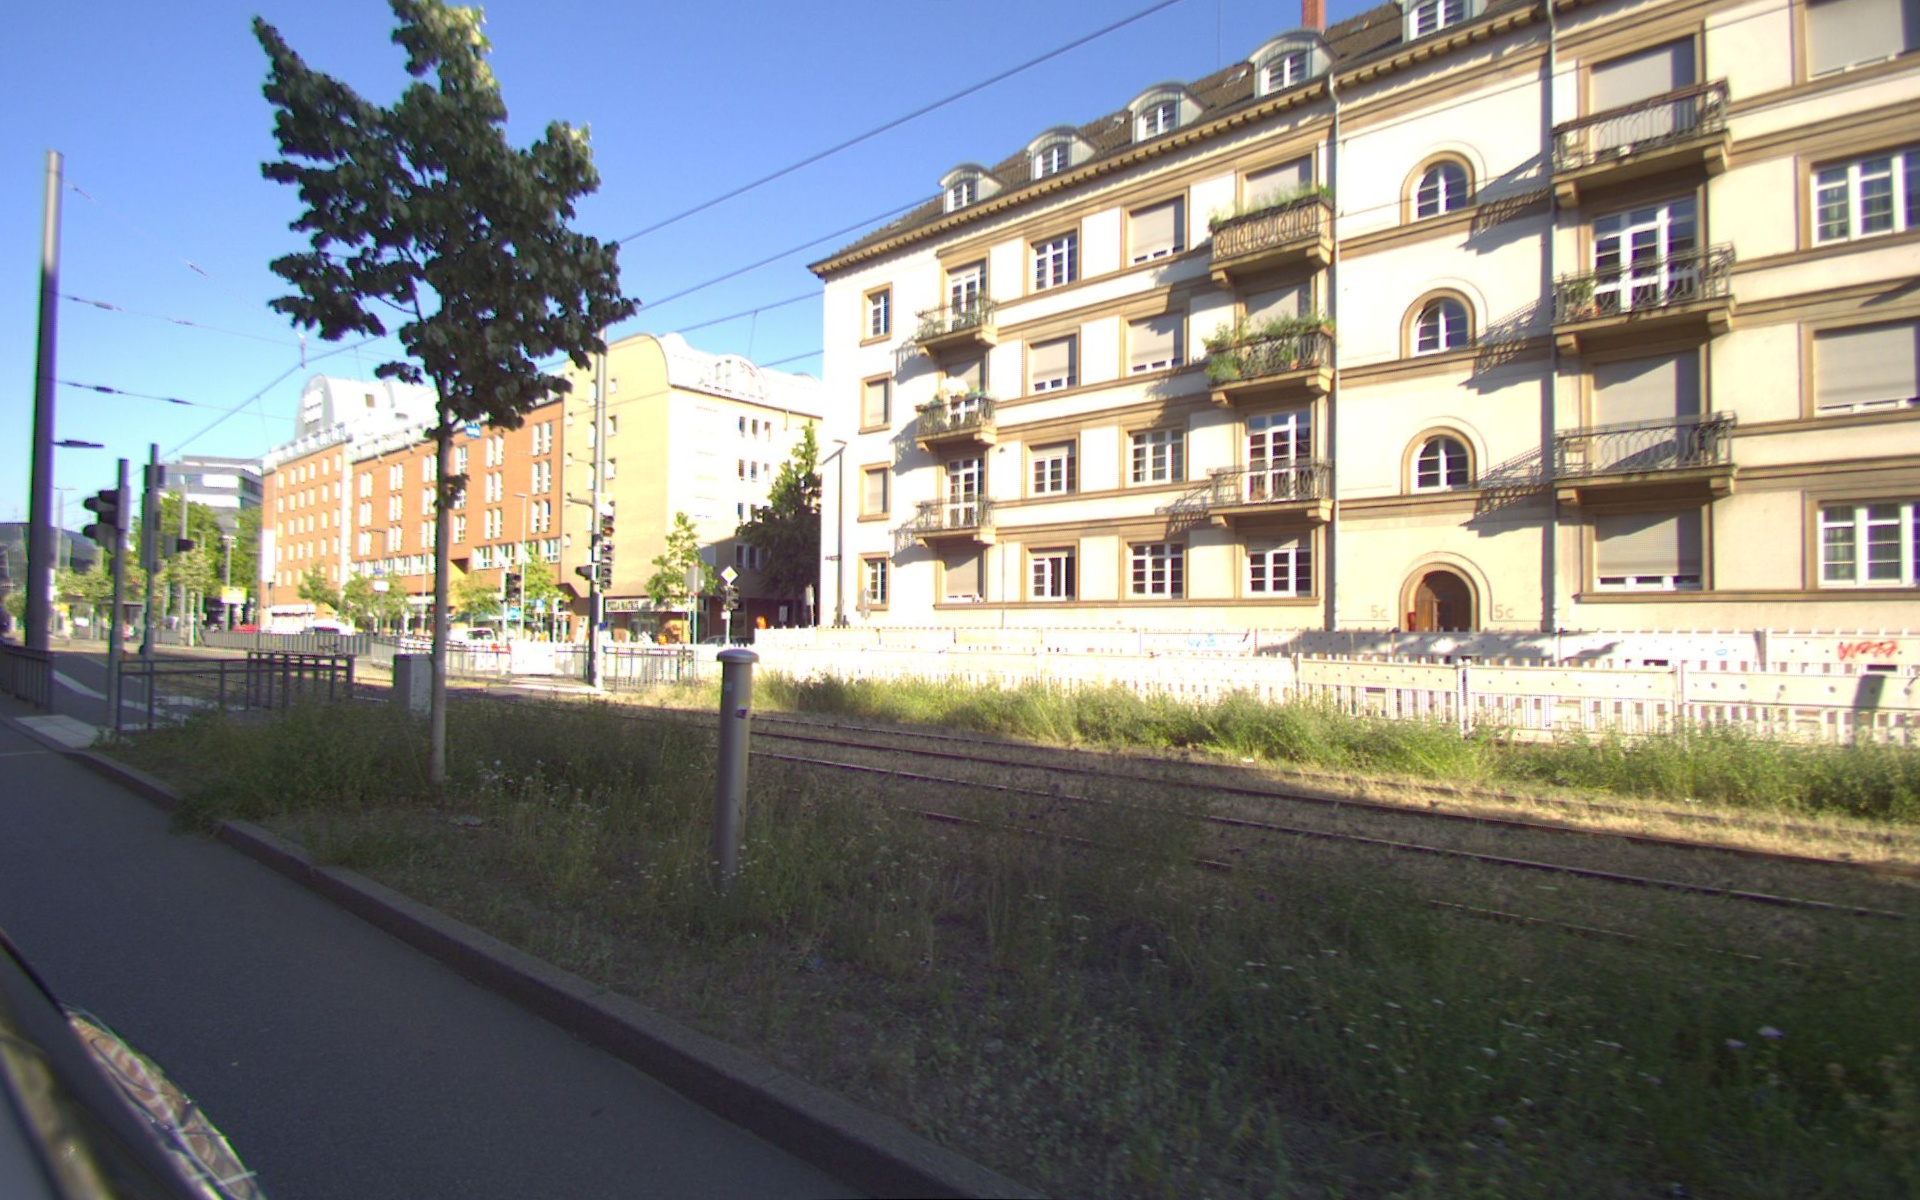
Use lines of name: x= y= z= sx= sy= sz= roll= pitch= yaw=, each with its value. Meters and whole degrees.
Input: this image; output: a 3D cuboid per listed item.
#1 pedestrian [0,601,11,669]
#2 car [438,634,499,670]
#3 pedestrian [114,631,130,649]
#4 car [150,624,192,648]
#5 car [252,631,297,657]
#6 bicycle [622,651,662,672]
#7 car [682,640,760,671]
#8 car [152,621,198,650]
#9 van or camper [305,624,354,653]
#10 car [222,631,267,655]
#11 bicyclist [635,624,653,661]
pedestrian: x=-24.054 y=0.856 z=25.095 sx=0.867 sy=1.655 sz=0.648 roll=0 pitch=-2 yaw=41
car: x=-28.161 y=2.986 z=57.967 sx=1.970 sy=2.029 sz=4.151 roll=3 pitch=-4 yaw=-43
pedestrian: x=-56.322 y=2.669 z=68.004 sx=0.906 sy=1.199 sz=0.666 roll=-2 pitch=-3 yaw=41
car: x=-77.453 y=3.532 z=99.312 sx=5.260 sy=2.307 sz=2.058 roll=-1 pitch=-3 yaw=40
car: x=-51.236 y=3.281 z=75.615 sx=4.316 sy=1.881 sz=1.865 roll=-3 pitch=-4 yaw=44
bicycle: x=-14.833 y=2.854 z=47.218 sx=0.684 sy=0.955 sz=1.720 roll=-1 pitch=-3 yaw=37
car: x=-12.862 y=2.997 z=54.431 sx=4.148 sy=1.597 sz=1.820 roll=-2 pitch=-4 yaw=36
car: x=-65.554 y=2.956 z=84.485 sx=4.917 sy=2.376 sz=2.024 roll=-1 pitch=-3 yaw=41
van or camper: x=-51.654 y=3.199 z=82.824 sx=5.615 sy=2.186 sz=1.972 roll=-4 pitch=-5 yaw=43
car: x=-56.973 y=3.439 z=80.593 sx=4.313 sy=1.881 sz=1.866 roll=-3 pitch=-4 yaw=41
bicyclist: x=-14.776 y=1.991 z=47.307 sx=0.665 sy=1.693 sz=0.481 roll=-1 pitch=-3 yaw=37
